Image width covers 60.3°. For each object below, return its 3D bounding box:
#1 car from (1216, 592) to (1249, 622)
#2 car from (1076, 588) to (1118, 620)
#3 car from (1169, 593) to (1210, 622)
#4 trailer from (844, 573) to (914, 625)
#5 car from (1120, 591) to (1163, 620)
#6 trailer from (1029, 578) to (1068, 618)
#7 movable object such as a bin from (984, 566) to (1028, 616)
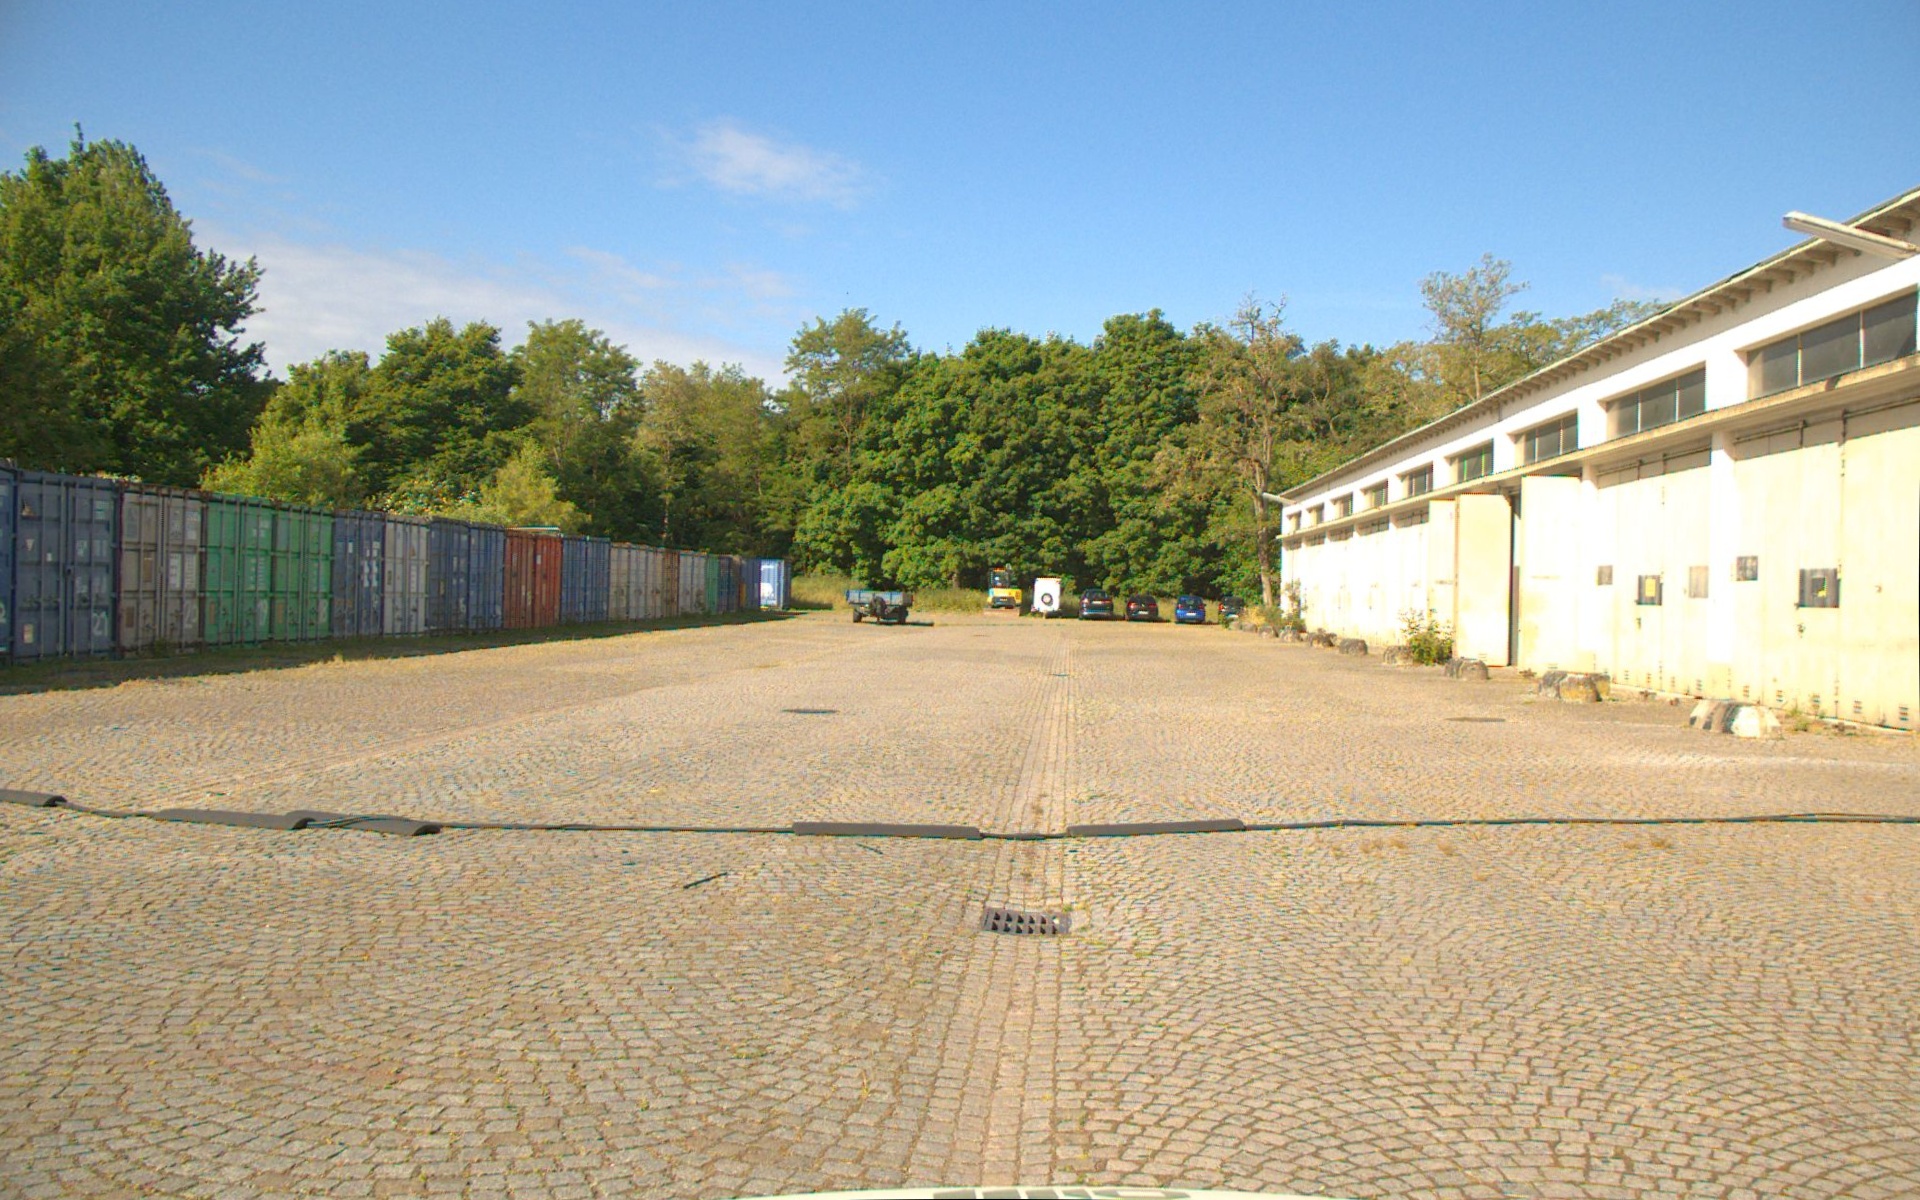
[{"bbox_3d":[14.871,0.375,90.287,1.649,1.591,4.003,1,0,11],"label":"car"},{"bbox_3d":[7.407,0.222,89.062,1.822,1.613,4.003,1,0,11],"label":"car"},{"bbox_3d":[12.394,0.389,89.211,1.951,1.445,4.003,1,0,11],"label":"car"},{"bbox_3d":[-3.501,-0.043,72.674,2.356,2.048,4.176,3,0,6],"label":"trailer"},{"bbox_3d":[9.822,0.309,89.377,1.951,1.488,4.003,1,0,11],"label":"car"},{"bbox_3d":[4.913,-0.104,91.201,1.755,2.126,3.974,1,0,8],"label":"trailer"},{"bbox_3d":[2.597,-0.489,91.628,1.951,2.664,4.003,1,0,8],"label":"movable object such as a bin"}]
